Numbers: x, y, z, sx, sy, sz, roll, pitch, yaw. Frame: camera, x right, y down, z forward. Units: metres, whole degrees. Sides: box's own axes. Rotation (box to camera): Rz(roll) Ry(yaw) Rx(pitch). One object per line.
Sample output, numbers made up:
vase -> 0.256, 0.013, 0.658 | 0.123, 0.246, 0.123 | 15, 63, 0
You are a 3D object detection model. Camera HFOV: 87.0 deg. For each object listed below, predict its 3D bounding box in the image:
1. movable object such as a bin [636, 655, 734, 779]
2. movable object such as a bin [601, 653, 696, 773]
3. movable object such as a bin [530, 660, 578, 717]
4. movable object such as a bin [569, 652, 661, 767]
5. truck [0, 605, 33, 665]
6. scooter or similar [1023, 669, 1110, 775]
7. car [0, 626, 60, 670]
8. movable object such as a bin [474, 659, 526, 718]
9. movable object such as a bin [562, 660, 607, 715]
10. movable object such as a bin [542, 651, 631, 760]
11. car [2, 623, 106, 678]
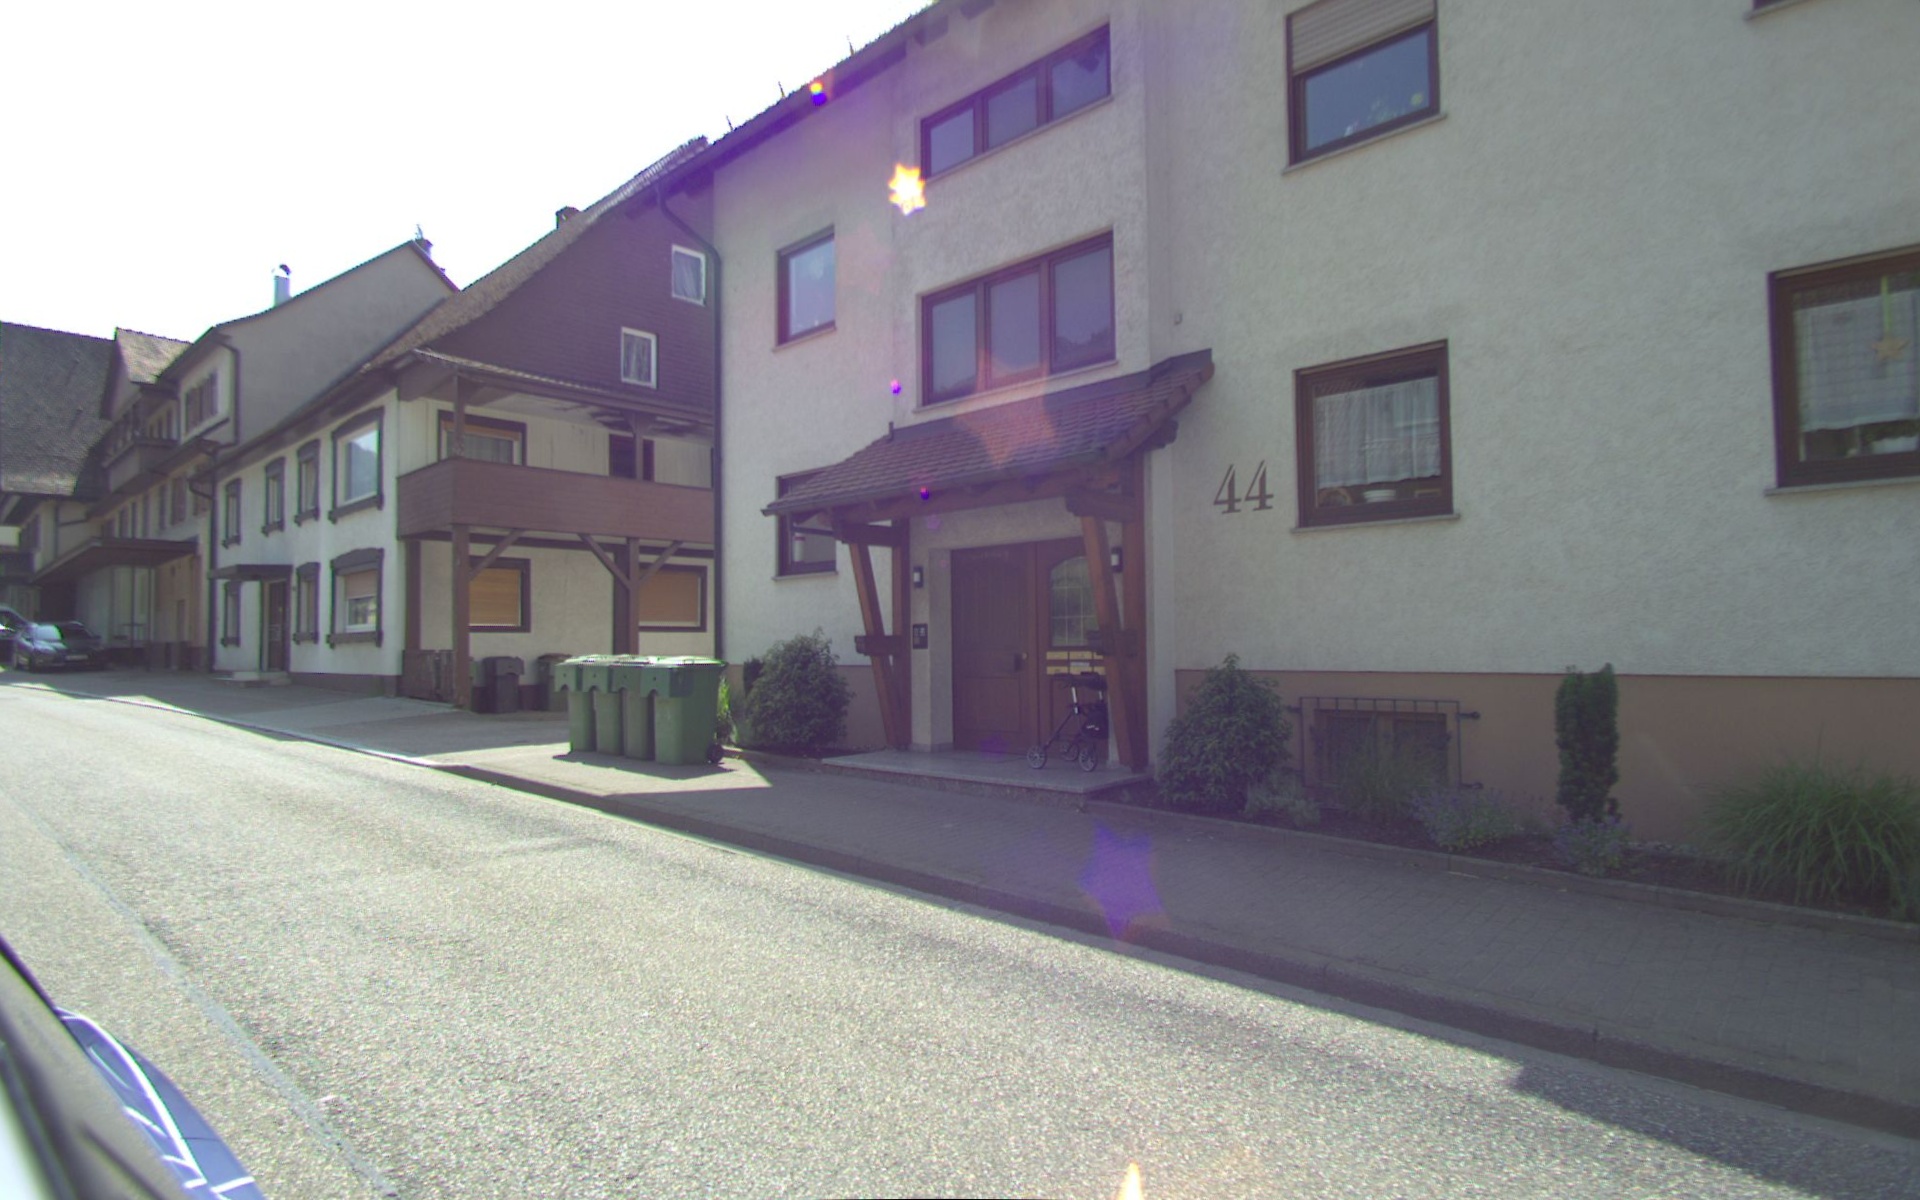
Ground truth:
movable object such as a bin -> -2.787, 1.164, 10.263 | 0.598, 1.190, 0.710 | -2, -5, 42
movable object such as a bin -> -3.279, 1.170, 10.658 | 0.598, 1.190, 0.710 | -2, -5, 42
movable object such as a bin -> -7.926, 1.717, 19.765 | 0.632, 1.059, 0.600 | -2, -4, 41
movable object such as a bin -> -3.772, 1.177, 11.085 | 0.598, 1.190, 0.710 | -2, -5, 42
truck -> -38.186, 1.323, 38.384 | 1.996, 2.283, 4.128 | -1, -2, 36
scooter or similar -> 0.897, 1.007, 8.524 | 0.537, 0.832, 0.500 | -2, -3, 41
car -> -34.231, 1.663, 35.260 | 1.752, 1.514, 4.053 | -2, -3, 40
movable object such as a bin -> -8.651, 1.655, 19.033 | 0.696, 1.059, 0.615 | -2, -4, 41
movable object such as a bin -> -7.535, 1.750, 20.309 | 0.600, 1.059, 0.592 | -2, -4, 41
movable object such as a bin -> -4.251, 1.185, 11.539 | 0.598, 1.190, 0.710 | -2, -5, 42
car -> -28.112, 1.518, 31.361 | 4.281, 1.565, 1.752 | -2, -2, 39
